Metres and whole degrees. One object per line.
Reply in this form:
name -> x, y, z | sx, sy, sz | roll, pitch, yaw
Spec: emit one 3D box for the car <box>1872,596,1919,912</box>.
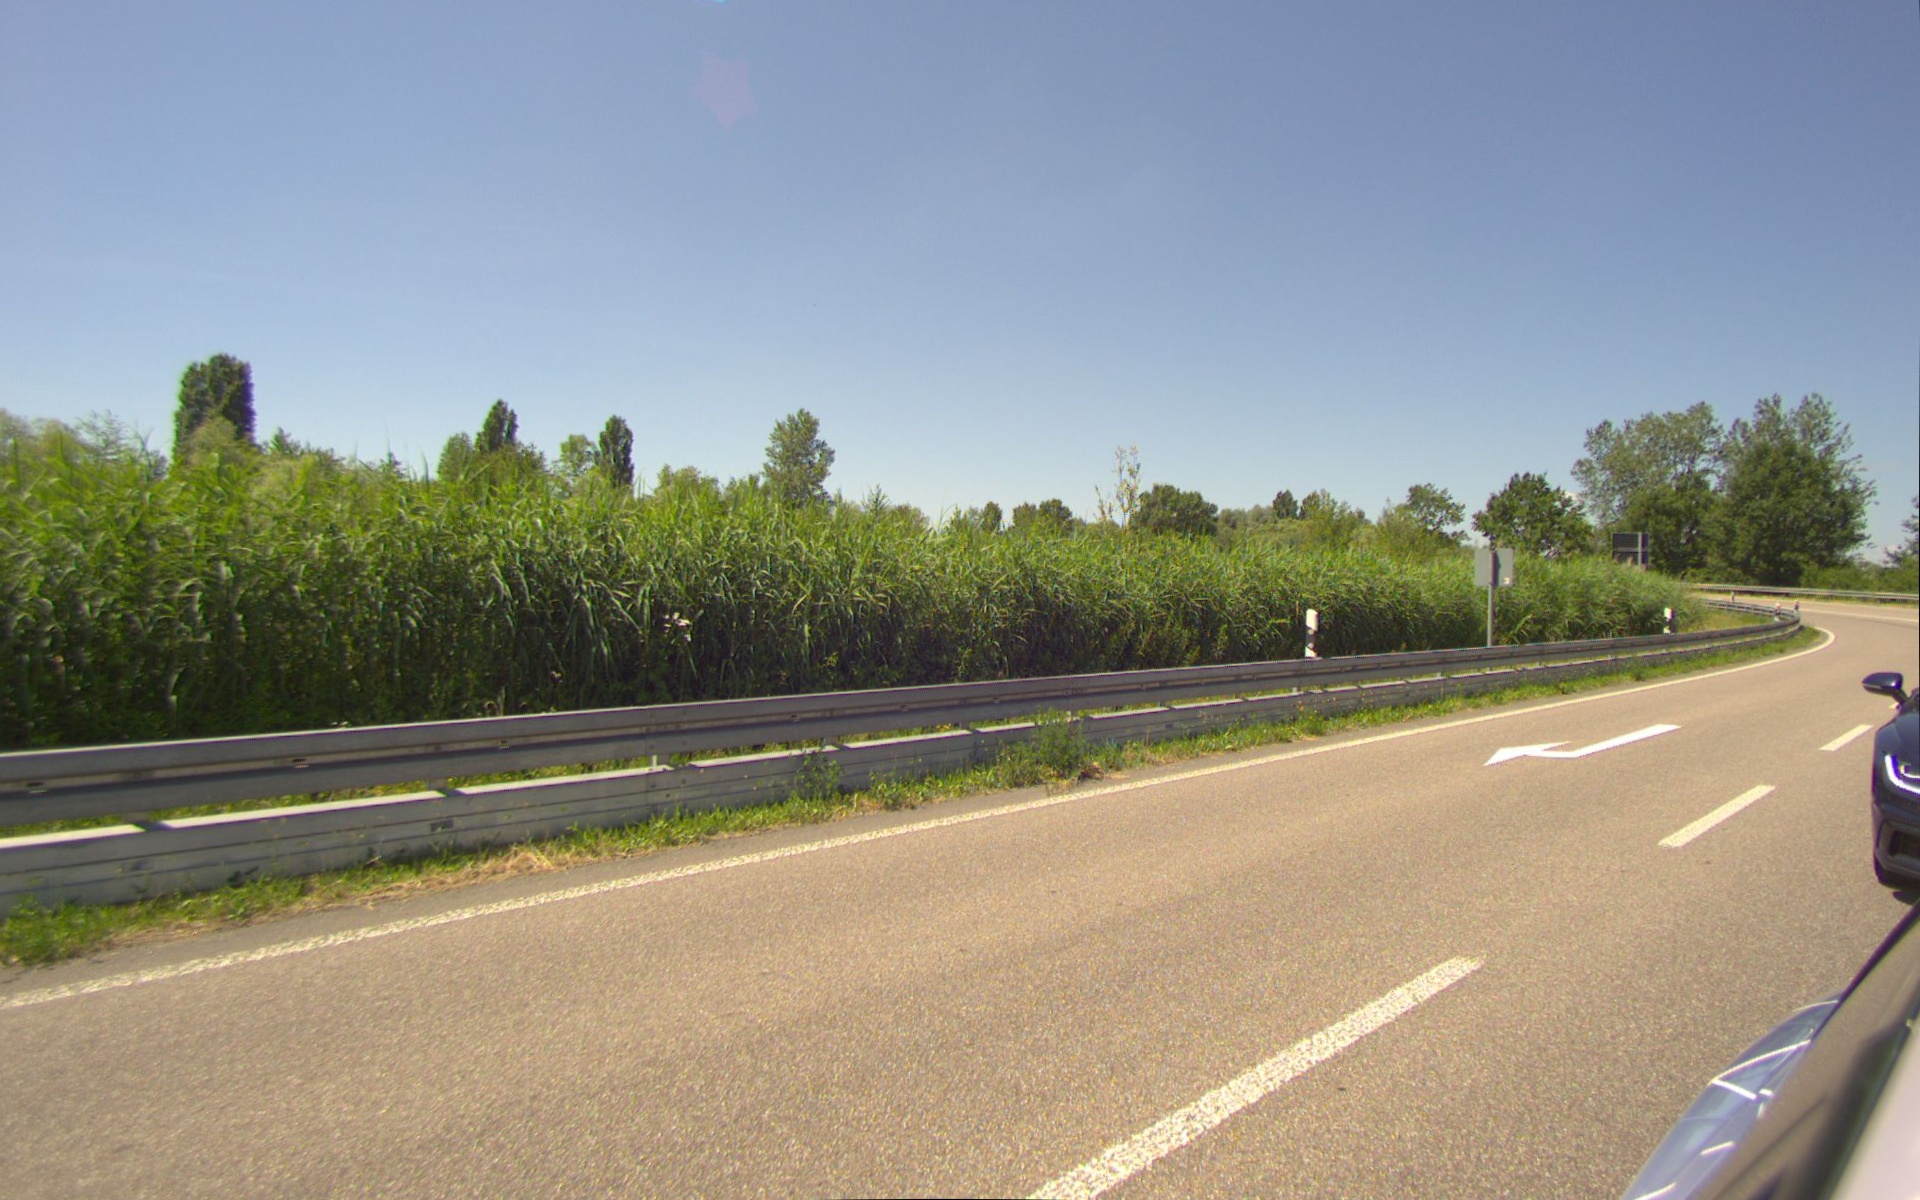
car -> 6.313, 0.695, 5.369 | 3.931, 1.427, 1.759 | -1, 1, -41
